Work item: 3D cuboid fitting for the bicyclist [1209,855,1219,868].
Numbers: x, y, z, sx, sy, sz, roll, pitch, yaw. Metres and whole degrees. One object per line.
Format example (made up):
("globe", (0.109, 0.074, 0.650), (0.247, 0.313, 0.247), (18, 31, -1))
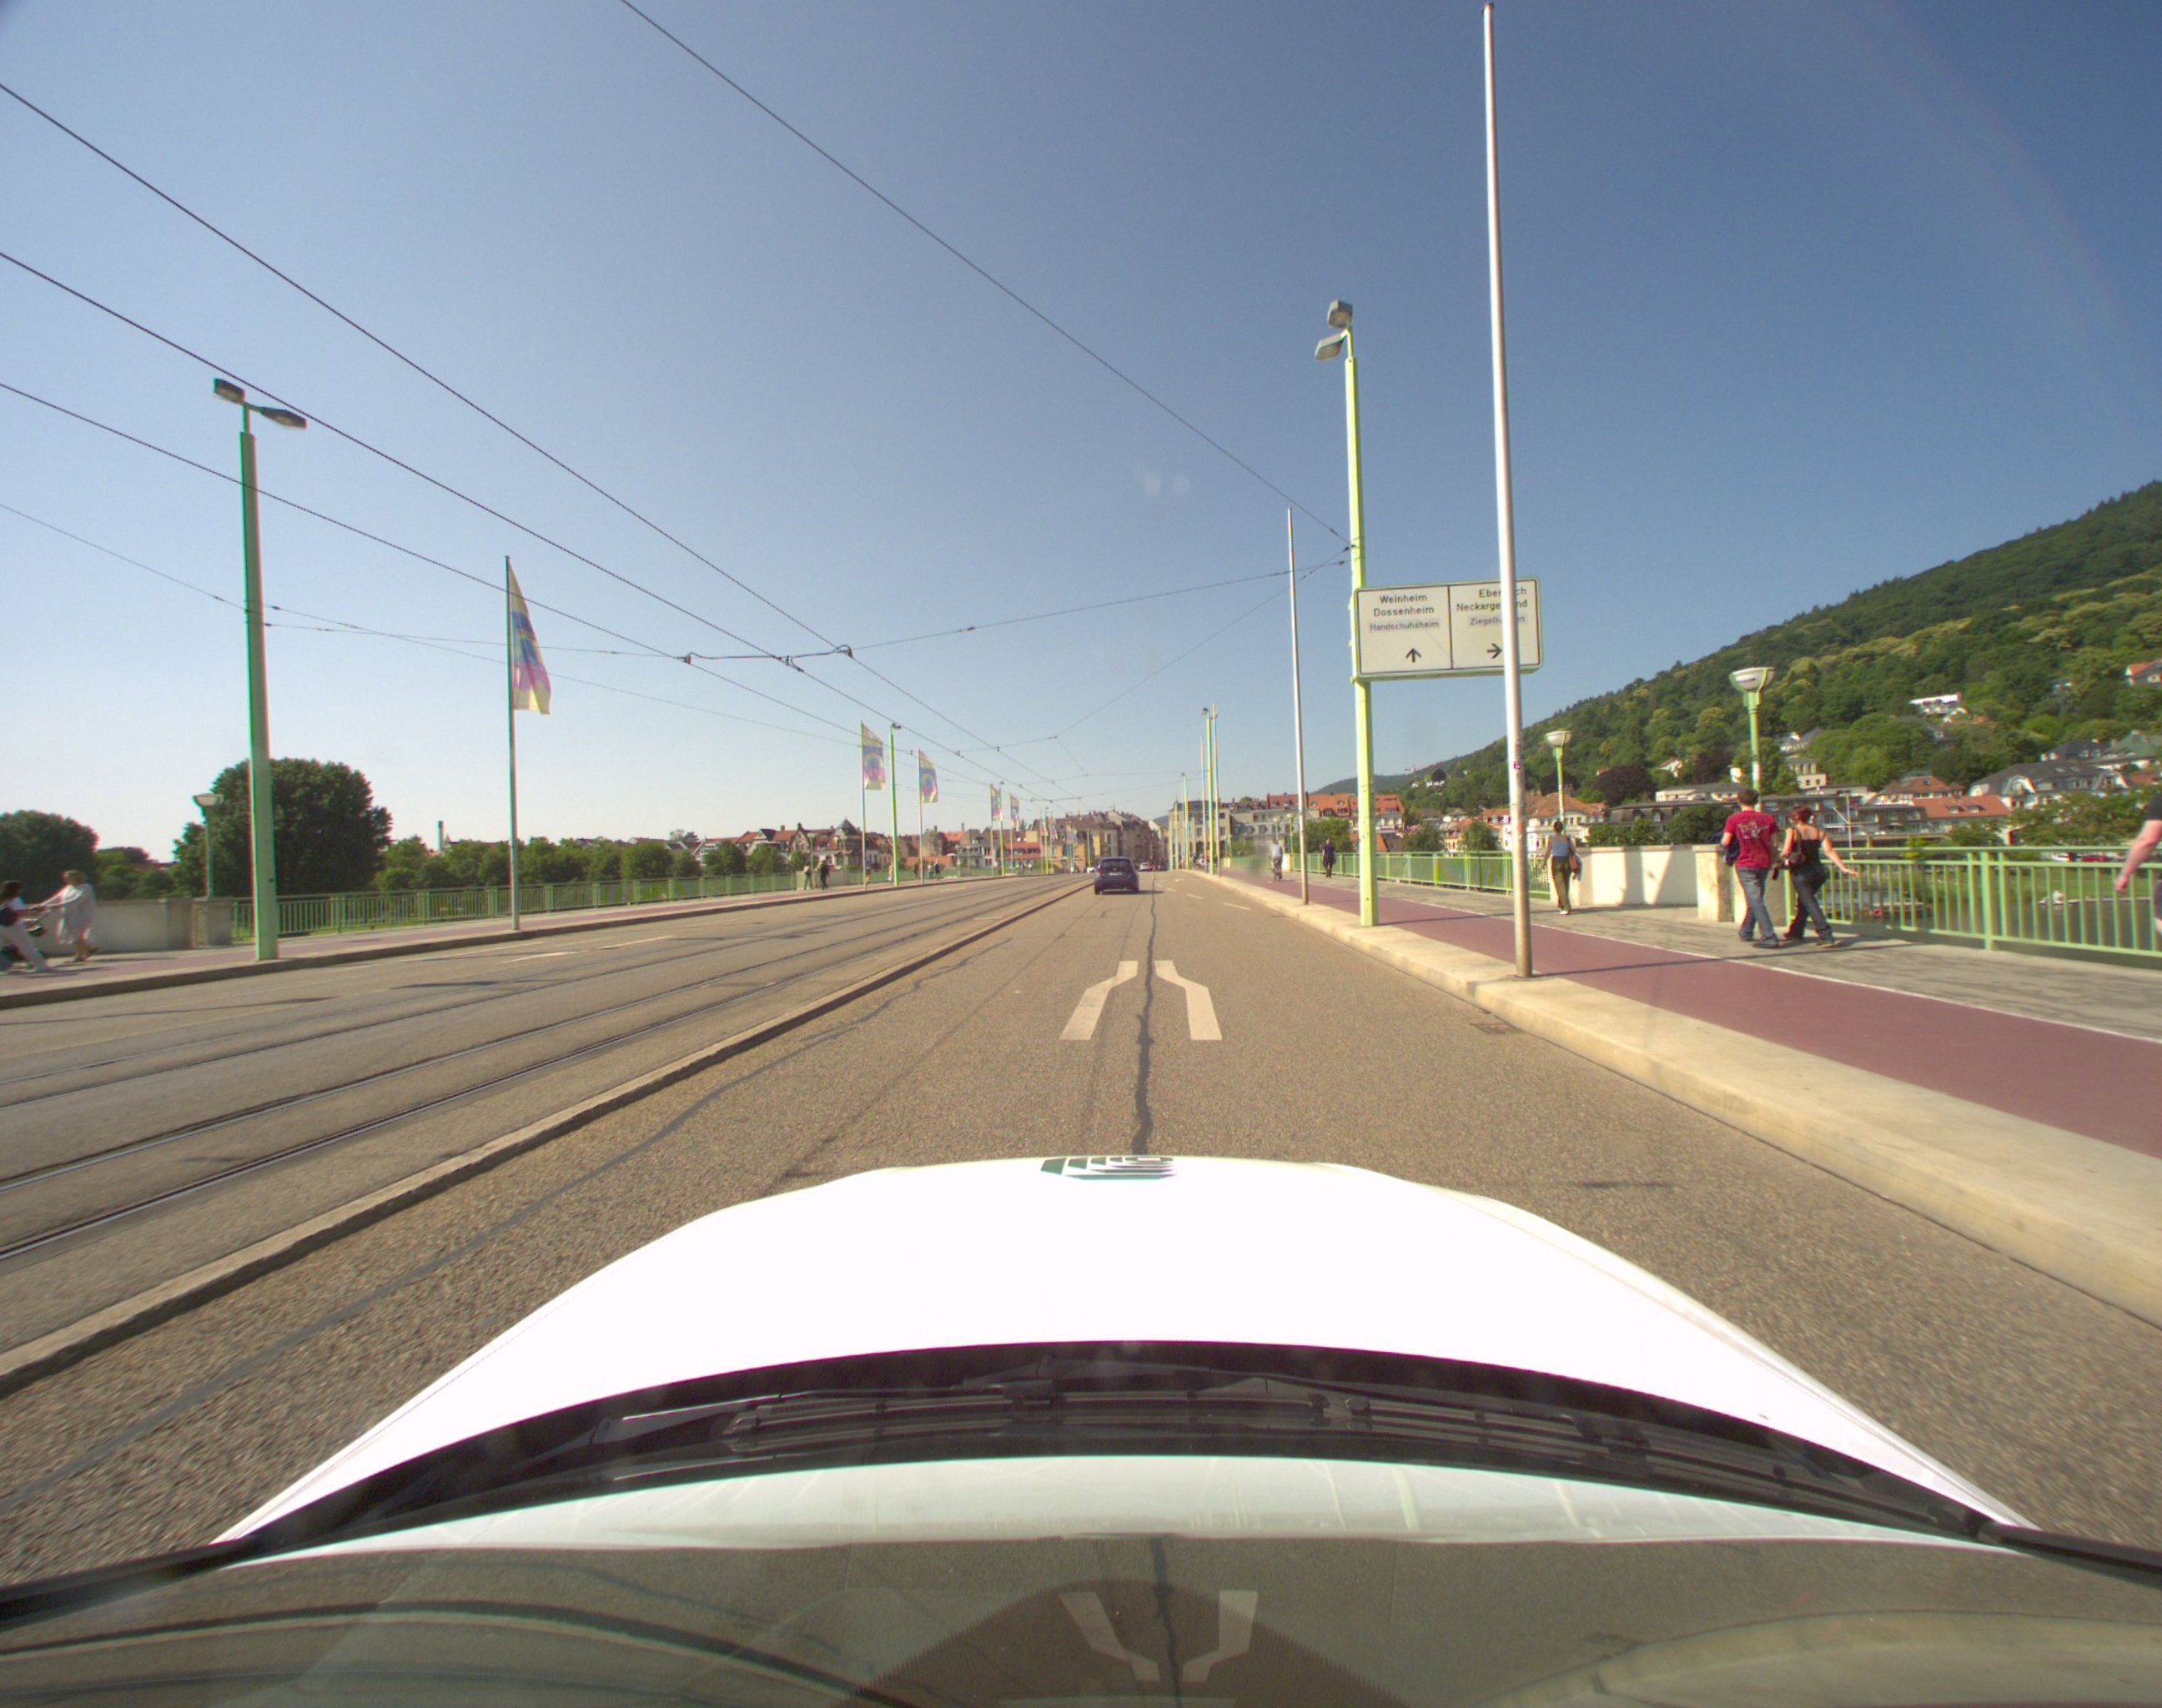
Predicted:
("bicyclist", (11.506, 0.665, 70.337), (0.665, 1.045, 0.979), (-2, -1, -2))

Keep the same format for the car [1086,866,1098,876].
("car", (2.021, 3.119, 152.053), (1.989, 1.409, 4.544), (-7, 2, -2))

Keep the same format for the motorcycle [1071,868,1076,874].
("motorcycle", (-1.475, 3.156, 152.769), (0.698, 1.110, 2.181), (-2, -1, 4))

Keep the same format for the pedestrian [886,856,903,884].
("pedestrian", (-14.137, 1.200, 61.634), (0.965, 2.013, 1.101), (-2, 0, -1))

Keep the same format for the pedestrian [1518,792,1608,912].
("pedestrian", (8.480, -0.034, 14.374), (0.871, 2.014, 1.059), (-2, -1, -1))

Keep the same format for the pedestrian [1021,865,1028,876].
("pedestrian", (-9.082, 2.661, 130.371), (0.826, 1.722, 1.095), (-2, -1, 5))

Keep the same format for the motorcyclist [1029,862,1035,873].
("motorcyclist", (-7.381, 1.995, 122.630), (0.797, 1.549, 1.070), (-2, -1, 4))

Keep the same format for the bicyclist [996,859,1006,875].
("bicyclist", (-9.791, 1.620, 99.707), (1.093, 1.961, 1.130), (-2, 0, 2))

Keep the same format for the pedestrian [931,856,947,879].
("pedestrian", (-12.669, 1.221, 72.839), (1.093, 2.013, 1.296), (-2, 0, 2))

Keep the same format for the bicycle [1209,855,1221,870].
("bicycle", (11.532, 0.743, 70.187), (0.693, 1.193, 2.079), (-2, -1, 0))

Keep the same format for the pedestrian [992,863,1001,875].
("pedestrian", (-11.604, 2.094, 111.758), (0.894, 1.658, 1.030), (-2, -1, 7))

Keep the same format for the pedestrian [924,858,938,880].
("pedestrian", (-14.292, 1.408, 77.627), (1.093, 2.013, 1.130), (-2, 0, 2))

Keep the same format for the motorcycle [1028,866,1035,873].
("motorcycle", (-7.392, 2.320, 122.607), (0.698, 1.110, 2.181), (-2, -1, 4))

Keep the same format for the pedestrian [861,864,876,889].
("pedestrian", (-15.393, 1.632, 59.038), (0.751, 1.722, 1.176), (-1, -1, 2))

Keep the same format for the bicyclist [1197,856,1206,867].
("bicyclist", (11.579, 0.681, 78.308), (0.732, 1.030, 1.176), (-2, -1, 3))

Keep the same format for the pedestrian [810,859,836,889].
("pedestrian", (-15.455, 1.181, 48.799), (1.093, 1.758, 1.295), (-2, 0, 1))

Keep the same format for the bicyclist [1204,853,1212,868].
("bicyclist", (13.401, 0.691, 85.832), (0.732, 1.635, 0.867), (-2, -1, 3))

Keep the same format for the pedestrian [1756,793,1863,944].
("pedestrian", (8.329, 0.164, 9.335), (0.521, 1.649, 0.699), (-2, -1, -1))

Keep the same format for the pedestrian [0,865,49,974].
("pedestrian", (-18.898, 1.128, 14.036), (0.736, 1.849, 1.122), (1, 0, 2))

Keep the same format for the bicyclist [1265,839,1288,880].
("bicyclist", (8.523, 0.240, 35.568), (0.671, 1.744, 1.150), (-2, -1, 1))

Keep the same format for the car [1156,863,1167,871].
("car", (16.001, 2.630, 161.658), (1.794, 1.469, 4.008), (-4, -1, 7))

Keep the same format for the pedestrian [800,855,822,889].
("pedestrian", (-16.485, 1.085, 49.681), (0.895, 2.013, 1.042), (-2, 0, 2))

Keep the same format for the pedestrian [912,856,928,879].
("pedestrian", (-14.407, 1.185, 72.959), (1.093, 2.013, 1.130), (-2, 0, 2))

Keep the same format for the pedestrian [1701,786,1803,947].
("pedestrian", (7.769, 0.144, 9.455), (0.583, 1.793, 0.632), (-2, -1, 0))

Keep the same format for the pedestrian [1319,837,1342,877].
("pedestrian", (11.037, 0.134, 36.069), (0.652, 1.743, 0.978), (-2, 1, -1))

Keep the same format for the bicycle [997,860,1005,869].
("bicycle", (-9.802, 1.312, 99.718), (0.586, 1.096, 2.114), (-1, 0, 3))

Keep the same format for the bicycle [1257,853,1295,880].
("bicycle", (8.542, 0.540, 35.826), (0.789, 1.096, 3.745), (-2, 0, 1))

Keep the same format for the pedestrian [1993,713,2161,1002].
("pedestrian", (7.583, 0.017, 5.673), (0.982, 1.895, 1.254), (-2, -1, -1))

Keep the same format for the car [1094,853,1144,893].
("car", (1.562, 0.740, 33.551), (1.902, 1.540, 4.003), (-1, 0, 3))

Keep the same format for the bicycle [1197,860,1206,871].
("bicycle", (11.603, 1.120, 78.374), (0.616, 1.037, 2.053), (-2, -1, 3))

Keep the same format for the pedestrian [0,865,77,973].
("pedestrian", (-18.533, 1.103, 14.233), (0.736, 1.784, 0.958), (1, 0, 2))

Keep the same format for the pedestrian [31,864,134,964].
("pedestrian", (-19.387, 1.133, 15.831), (0.736, 1.853, 0.976), (1, 0, 2))

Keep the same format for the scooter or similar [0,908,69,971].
("scooter or similar", (-19.443, 1.550, 14.915), (0.736, 1.029, 0.833), (1, 0, 2))

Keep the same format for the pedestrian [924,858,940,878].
("pedestrian", (-13.243, 1.261, 72.514), (1.093, 1.729, 1.296), (-1, 0, 2))

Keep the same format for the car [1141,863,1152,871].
("car", (11.928, 2.391, 148.783), (1.797, 1.469, 4.002), (-3, -1, 2))

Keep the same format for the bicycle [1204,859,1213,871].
("bicycle", (13.409, 1.168, 85.705), (0.616, 1.271, 2.218), (-2, -1, 3))
